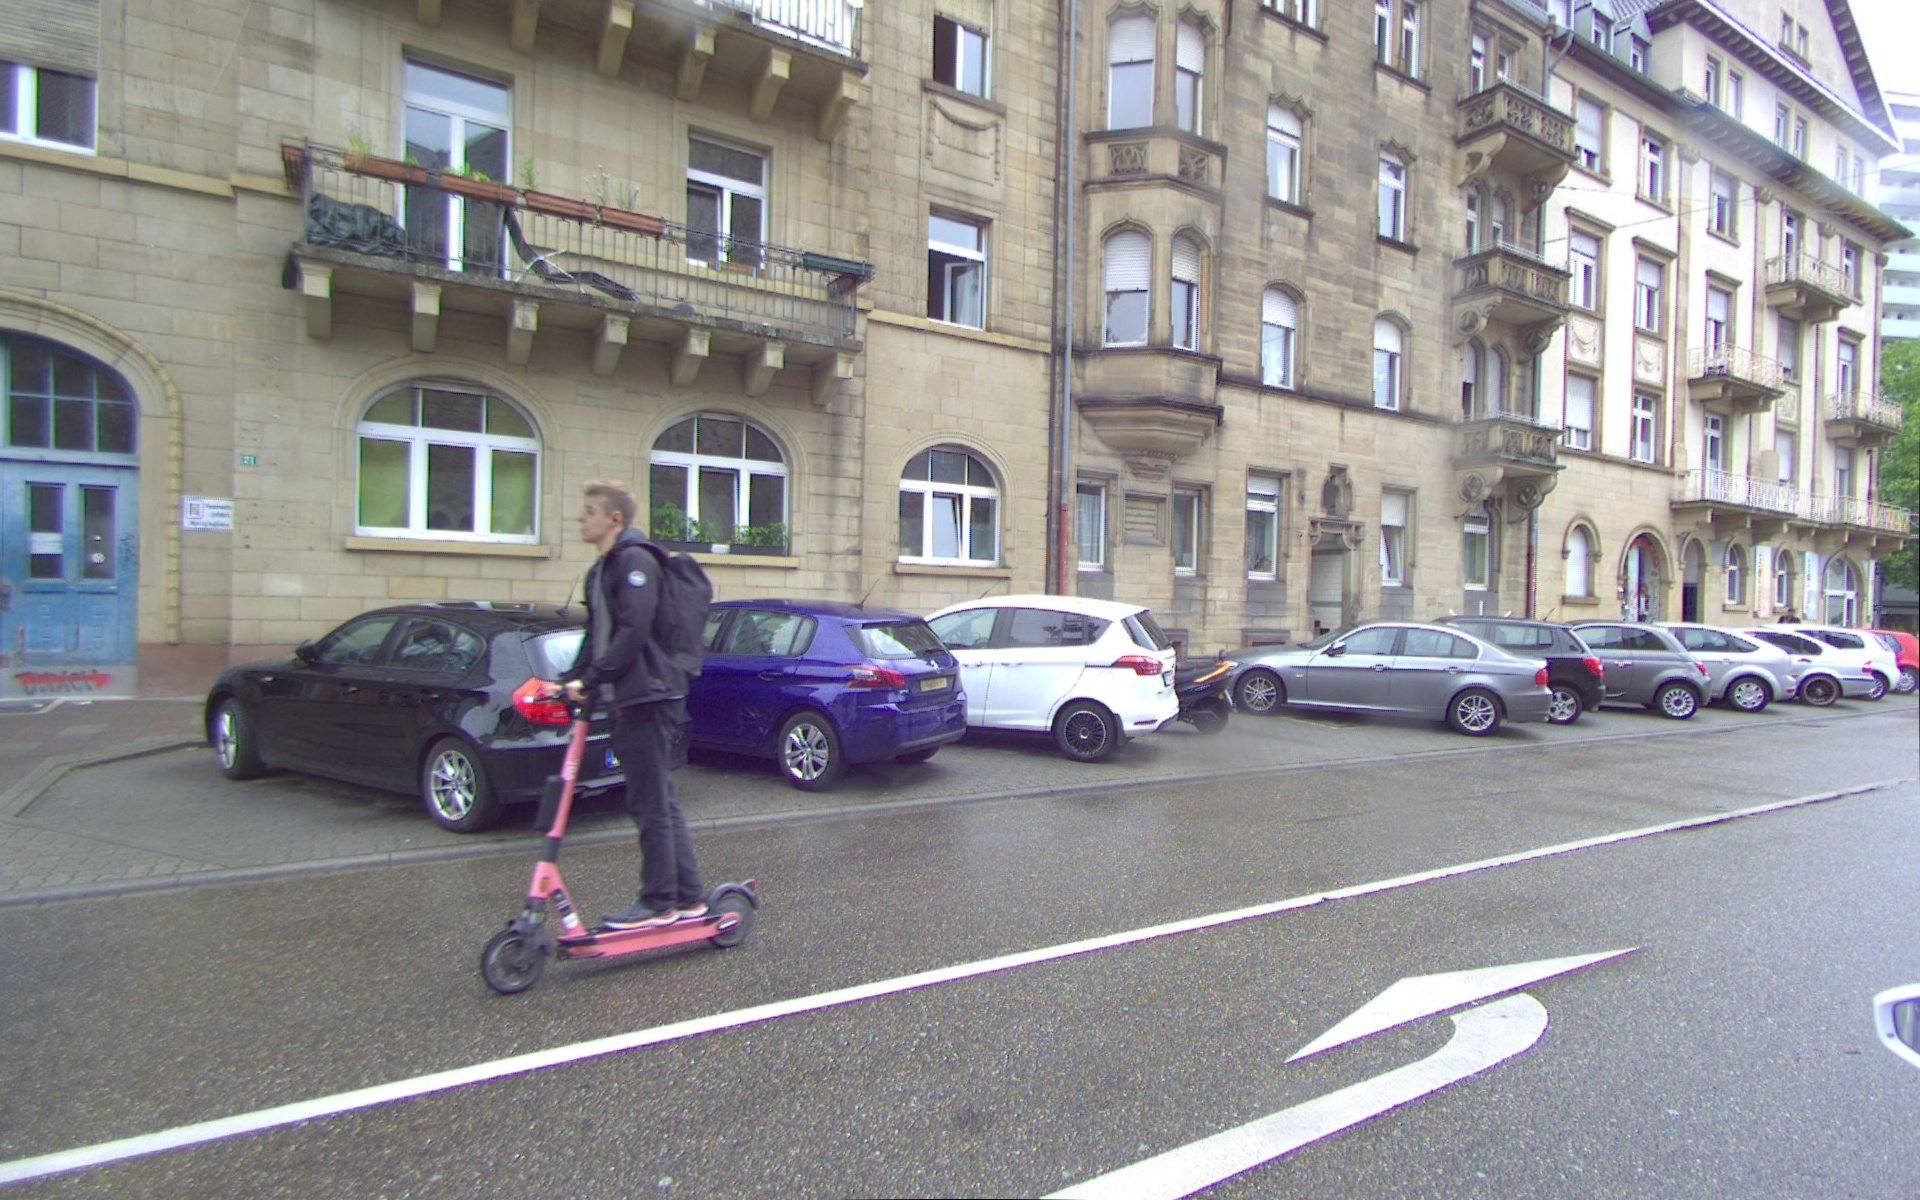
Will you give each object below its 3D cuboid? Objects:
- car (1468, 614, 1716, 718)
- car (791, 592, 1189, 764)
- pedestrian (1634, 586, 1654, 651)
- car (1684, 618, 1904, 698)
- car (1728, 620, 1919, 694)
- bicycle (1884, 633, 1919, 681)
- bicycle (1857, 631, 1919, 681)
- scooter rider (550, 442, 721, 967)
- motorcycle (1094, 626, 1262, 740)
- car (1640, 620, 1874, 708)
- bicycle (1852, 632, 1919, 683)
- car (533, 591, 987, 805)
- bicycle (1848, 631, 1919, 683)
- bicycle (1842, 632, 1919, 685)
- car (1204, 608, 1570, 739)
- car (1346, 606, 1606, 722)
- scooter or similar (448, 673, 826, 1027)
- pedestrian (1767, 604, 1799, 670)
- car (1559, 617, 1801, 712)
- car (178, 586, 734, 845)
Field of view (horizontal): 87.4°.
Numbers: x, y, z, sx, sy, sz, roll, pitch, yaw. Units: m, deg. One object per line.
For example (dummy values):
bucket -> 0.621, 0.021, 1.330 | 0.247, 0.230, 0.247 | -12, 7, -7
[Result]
car -> 10.754, 1.066, 17.370 | 3.337, 1.578, 1.652 | 1, 0, 21
car -> 0.365, 0.742, 10.944 | 3.964, 1.576, 1.799 | 1, -1, 20
pedestrian -> 19.482, 0.532, 28.614 | 0.343, 1.846, 0.364 | 2, -1, -32
car -> 18.268, 1.224, 22.181 | 3.337, 1.578, 1.705 | 1, 0, 21
car -> 20.644, 1.310, 23.929 | 3.337, 1.578, 1.705 | 1, 0, 21
bicycle -> 26.497, 1.573, 27.445 | 0.601, 1.283, 1.754 | 1, -1, -31
bicycle -> 25.599, 1.509, 27.277 | 0.601, 1.283, 1.754 | 1, -1, -31
scooter rider -> -1.368, 0.397, 4.190 | 0.498, 1.961, 0.707 | 1, -1, -32
motorcycle -> 2.615, 0.962, 12.080 | 1.837, 1.177, 0.633 | 3, 1, 23
car -> 16.066, 1.238, 20.445 | 3.337, 1.578, 1.705 | 1, 0, 21
bicycle -> 24.837, 1.504, 26.554 | 0.492, 1.283, 1.801 | 1, -1, -31
car -> -1.919, 0.747, 9.356 | 3.972, 1.594, 1.795 | 1, -1, 31
bicycle -> 24.320, 1.481, 26.095 | 0.492, 1.283, 1.801 | 1, -1, -31
bicycle -> 23.865, 1.478, 25.802 | 0.516, 1.283, 1.754 | 1, -1, -31
car -> 5.766, 0.936, 14.083 | 4.457, 1.565, 1.689 | 1, 0, 17
car -> 8.015, 0.949, 15.960 | 3.484, 1.619, 1.605 | 1, 0, 21
scooter or similar -> -1.336, 0.929, 4.209 | 1.370, 1.181, 0.697 | 1, -1, -33
pedestrian -> 25.925, 1.162, 31.651 | 0.647, 2.040, 0.565 | 1, 0, -30
car -> 13.338, 1.146, 18.855 | 3.337, 1.578, 1.705 | 1, 0, 21
car -> -3.886, 0.696, 7.697 | 3.969, 1.532, 1.796 | 1, -1, 27
